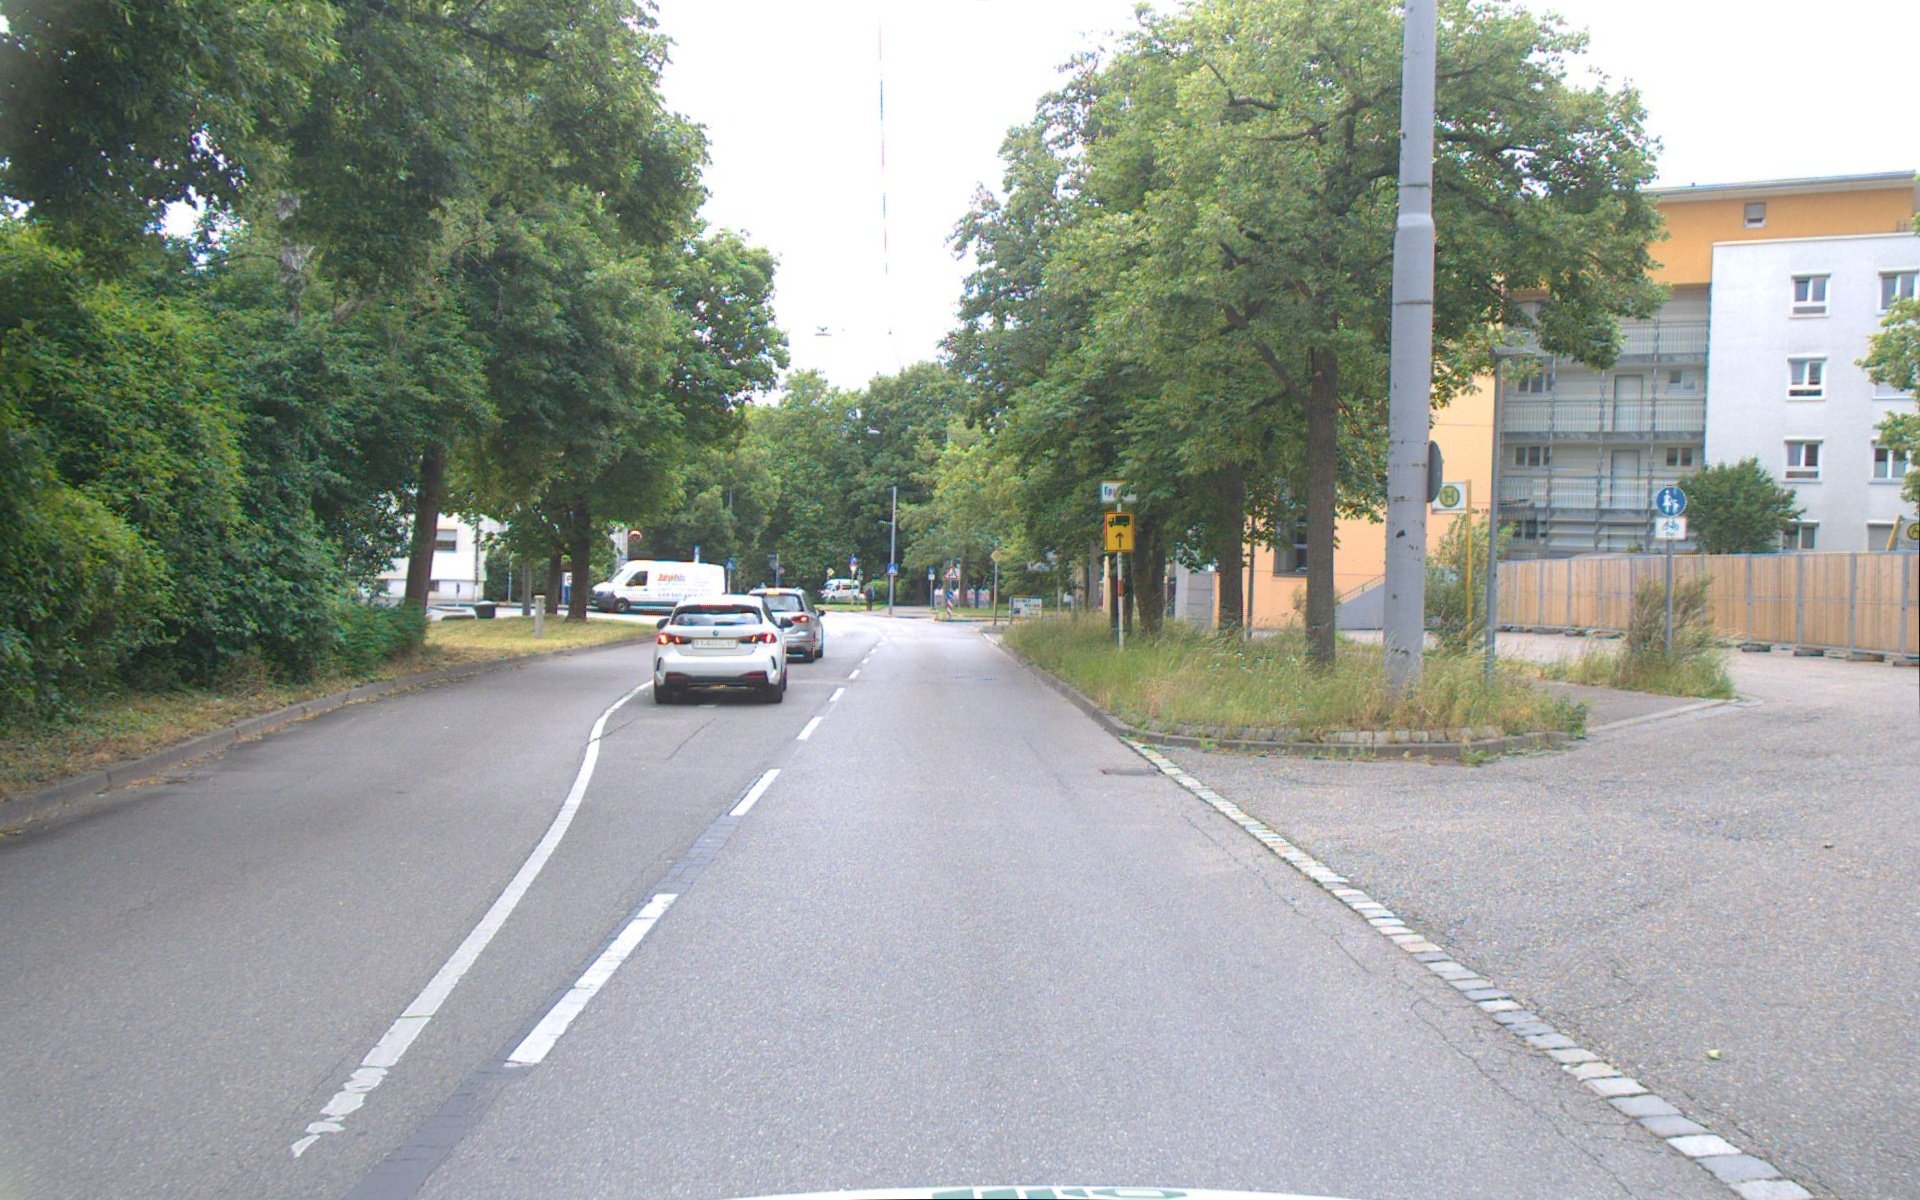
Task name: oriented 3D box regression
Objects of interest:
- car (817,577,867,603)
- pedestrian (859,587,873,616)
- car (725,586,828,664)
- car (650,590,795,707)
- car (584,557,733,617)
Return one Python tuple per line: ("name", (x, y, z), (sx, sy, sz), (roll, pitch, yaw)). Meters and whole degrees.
("car", (-12.293, -1.044, 172.398), (2.097, 2.337, 5.362), (5, 1, 37))
("pedestrian", (-6.412, 0.106, 112.770), (0.906, 1.903, 1.018), (-2, 3, -5))
("car", (-4.010, 0.507, 36.721), (1.884, 1.601, 3.999), (1, 0, -1))
("car", (-3.380, 0.648, 24.175), (1.760, 1.544, 4.203), (1, 0, -4))
("car", (-14.626, -0.586, 80.451), (6.911, 2.565, 2.056), (2, 2, -39))
